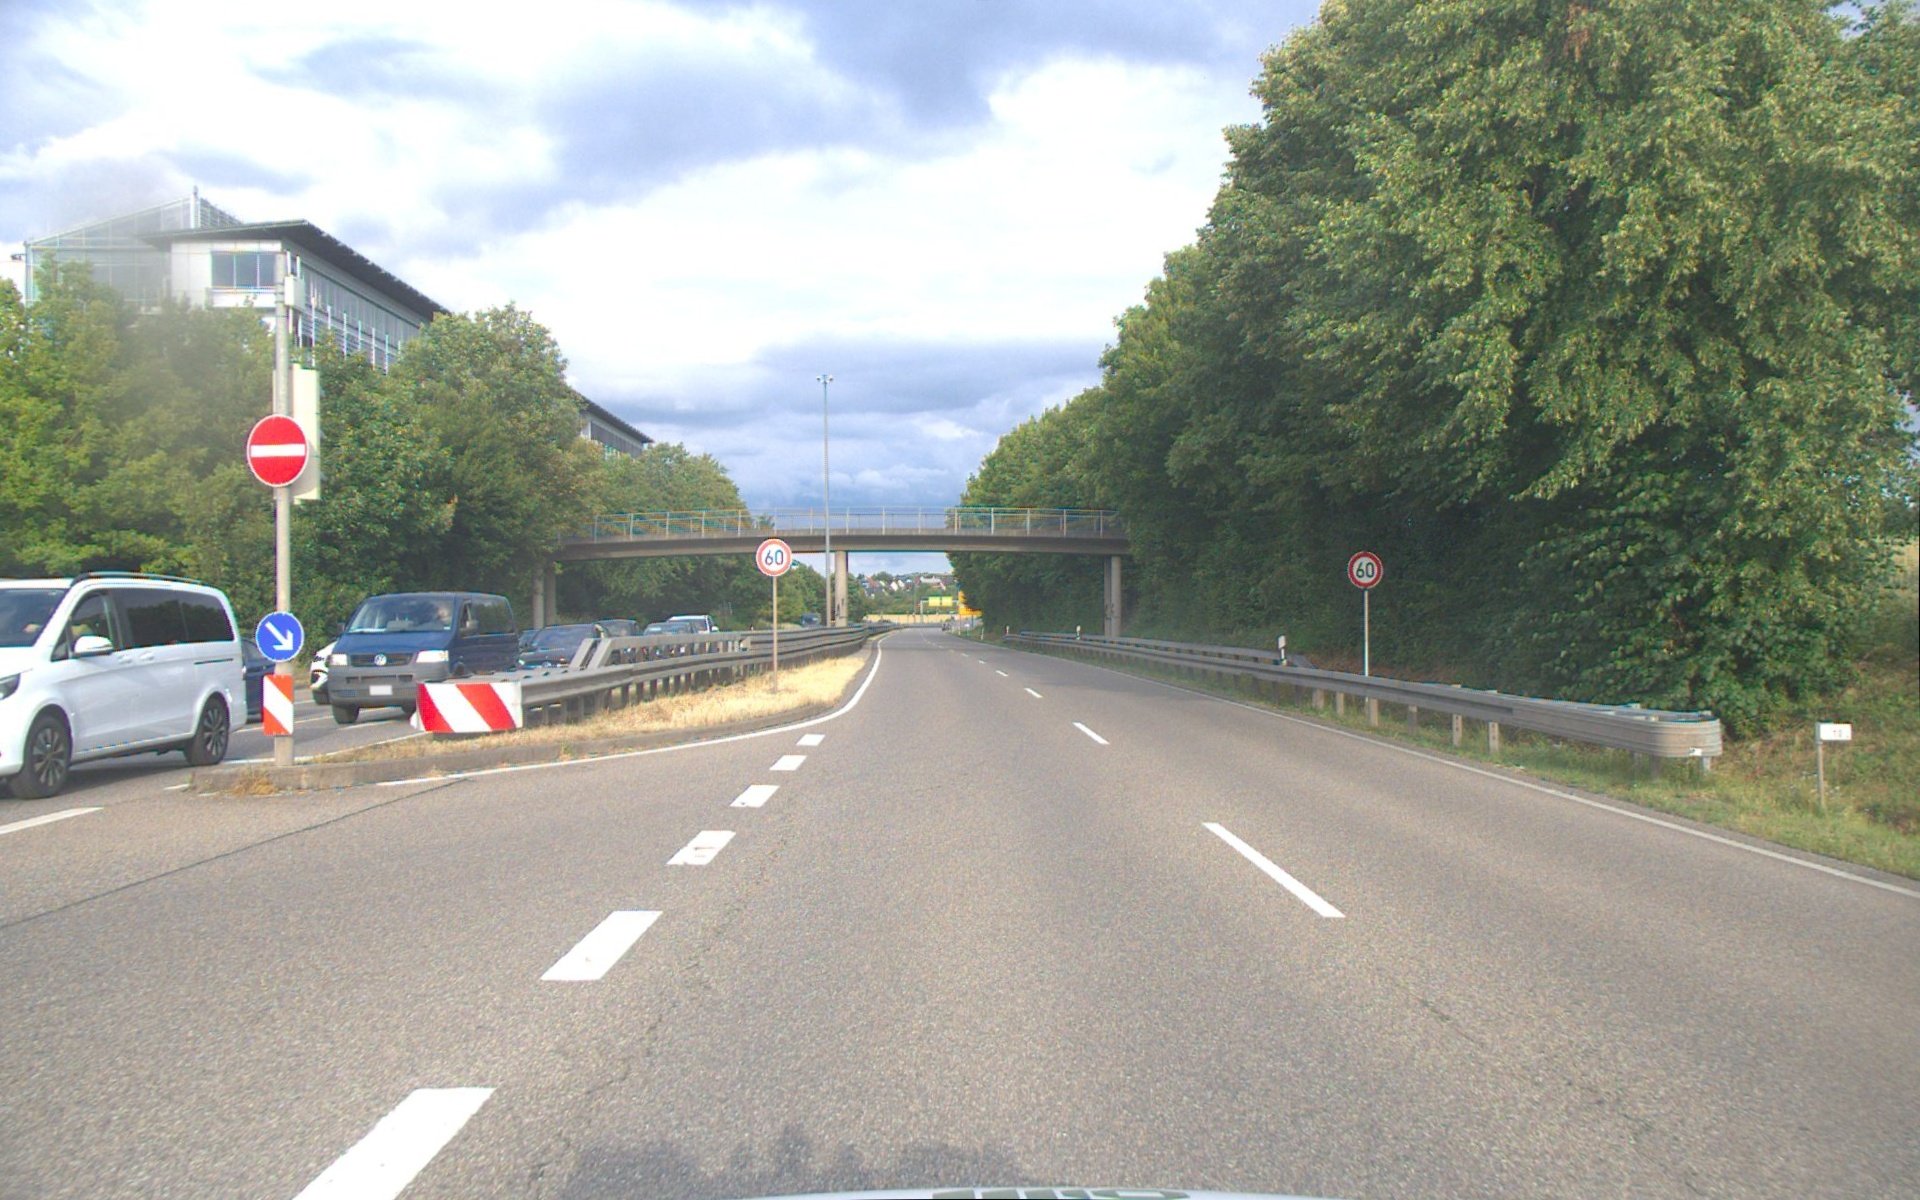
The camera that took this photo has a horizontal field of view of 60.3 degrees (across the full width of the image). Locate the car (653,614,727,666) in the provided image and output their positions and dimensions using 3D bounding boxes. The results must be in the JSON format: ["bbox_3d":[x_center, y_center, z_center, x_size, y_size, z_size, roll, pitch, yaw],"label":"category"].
[{"bbox_3d":[-9.080,1.325,55.938,1.786,1.612,4.788,-2,-1,-2],"label":"car"}]

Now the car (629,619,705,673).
[{"bbox_3d":[-8.542,1.311,48.477,1.683,1.493,3.732,-1,-1,-2],"label":"car"}]

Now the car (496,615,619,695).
[{"bbox_3d":[-8.615,1.148,35.739,1.678,1.617,4.552,0,-1,-2],"label":"car"}]

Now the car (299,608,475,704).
[{"bbox_3d":[-11.933,1.114,34.806,1.993,1.780,4.844,-2,-1,-1],"label":"car"}]

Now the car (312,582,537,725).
[{"bbox_3d":[-8.394,0.807,26.440,1.860,1.950,5.049,-4,-1,0],"label":"car"}]

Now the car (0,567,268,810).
[{"bbox_3d":[-8.553,0.749,15.582,1.895,1.905,5.345,-2,-1,-2],"label":"car"}]

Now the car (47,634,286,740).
[{"bbox_3d":[-11.860,1.254,25.051,1.614,1.412,4.185,0,-1,0],"label":"car"}]

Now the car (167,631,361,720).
[{"bbox_3d":[-11.913,1.251,28.593,1.687,1.261,3.999,-4,0,-2],"label":"car"}]

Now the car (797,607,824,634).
[{"bbox_3d":[-15.792,2.156,174.850,2.205,2.580,6.937,-4,-1,-2],"label":"car"}]
